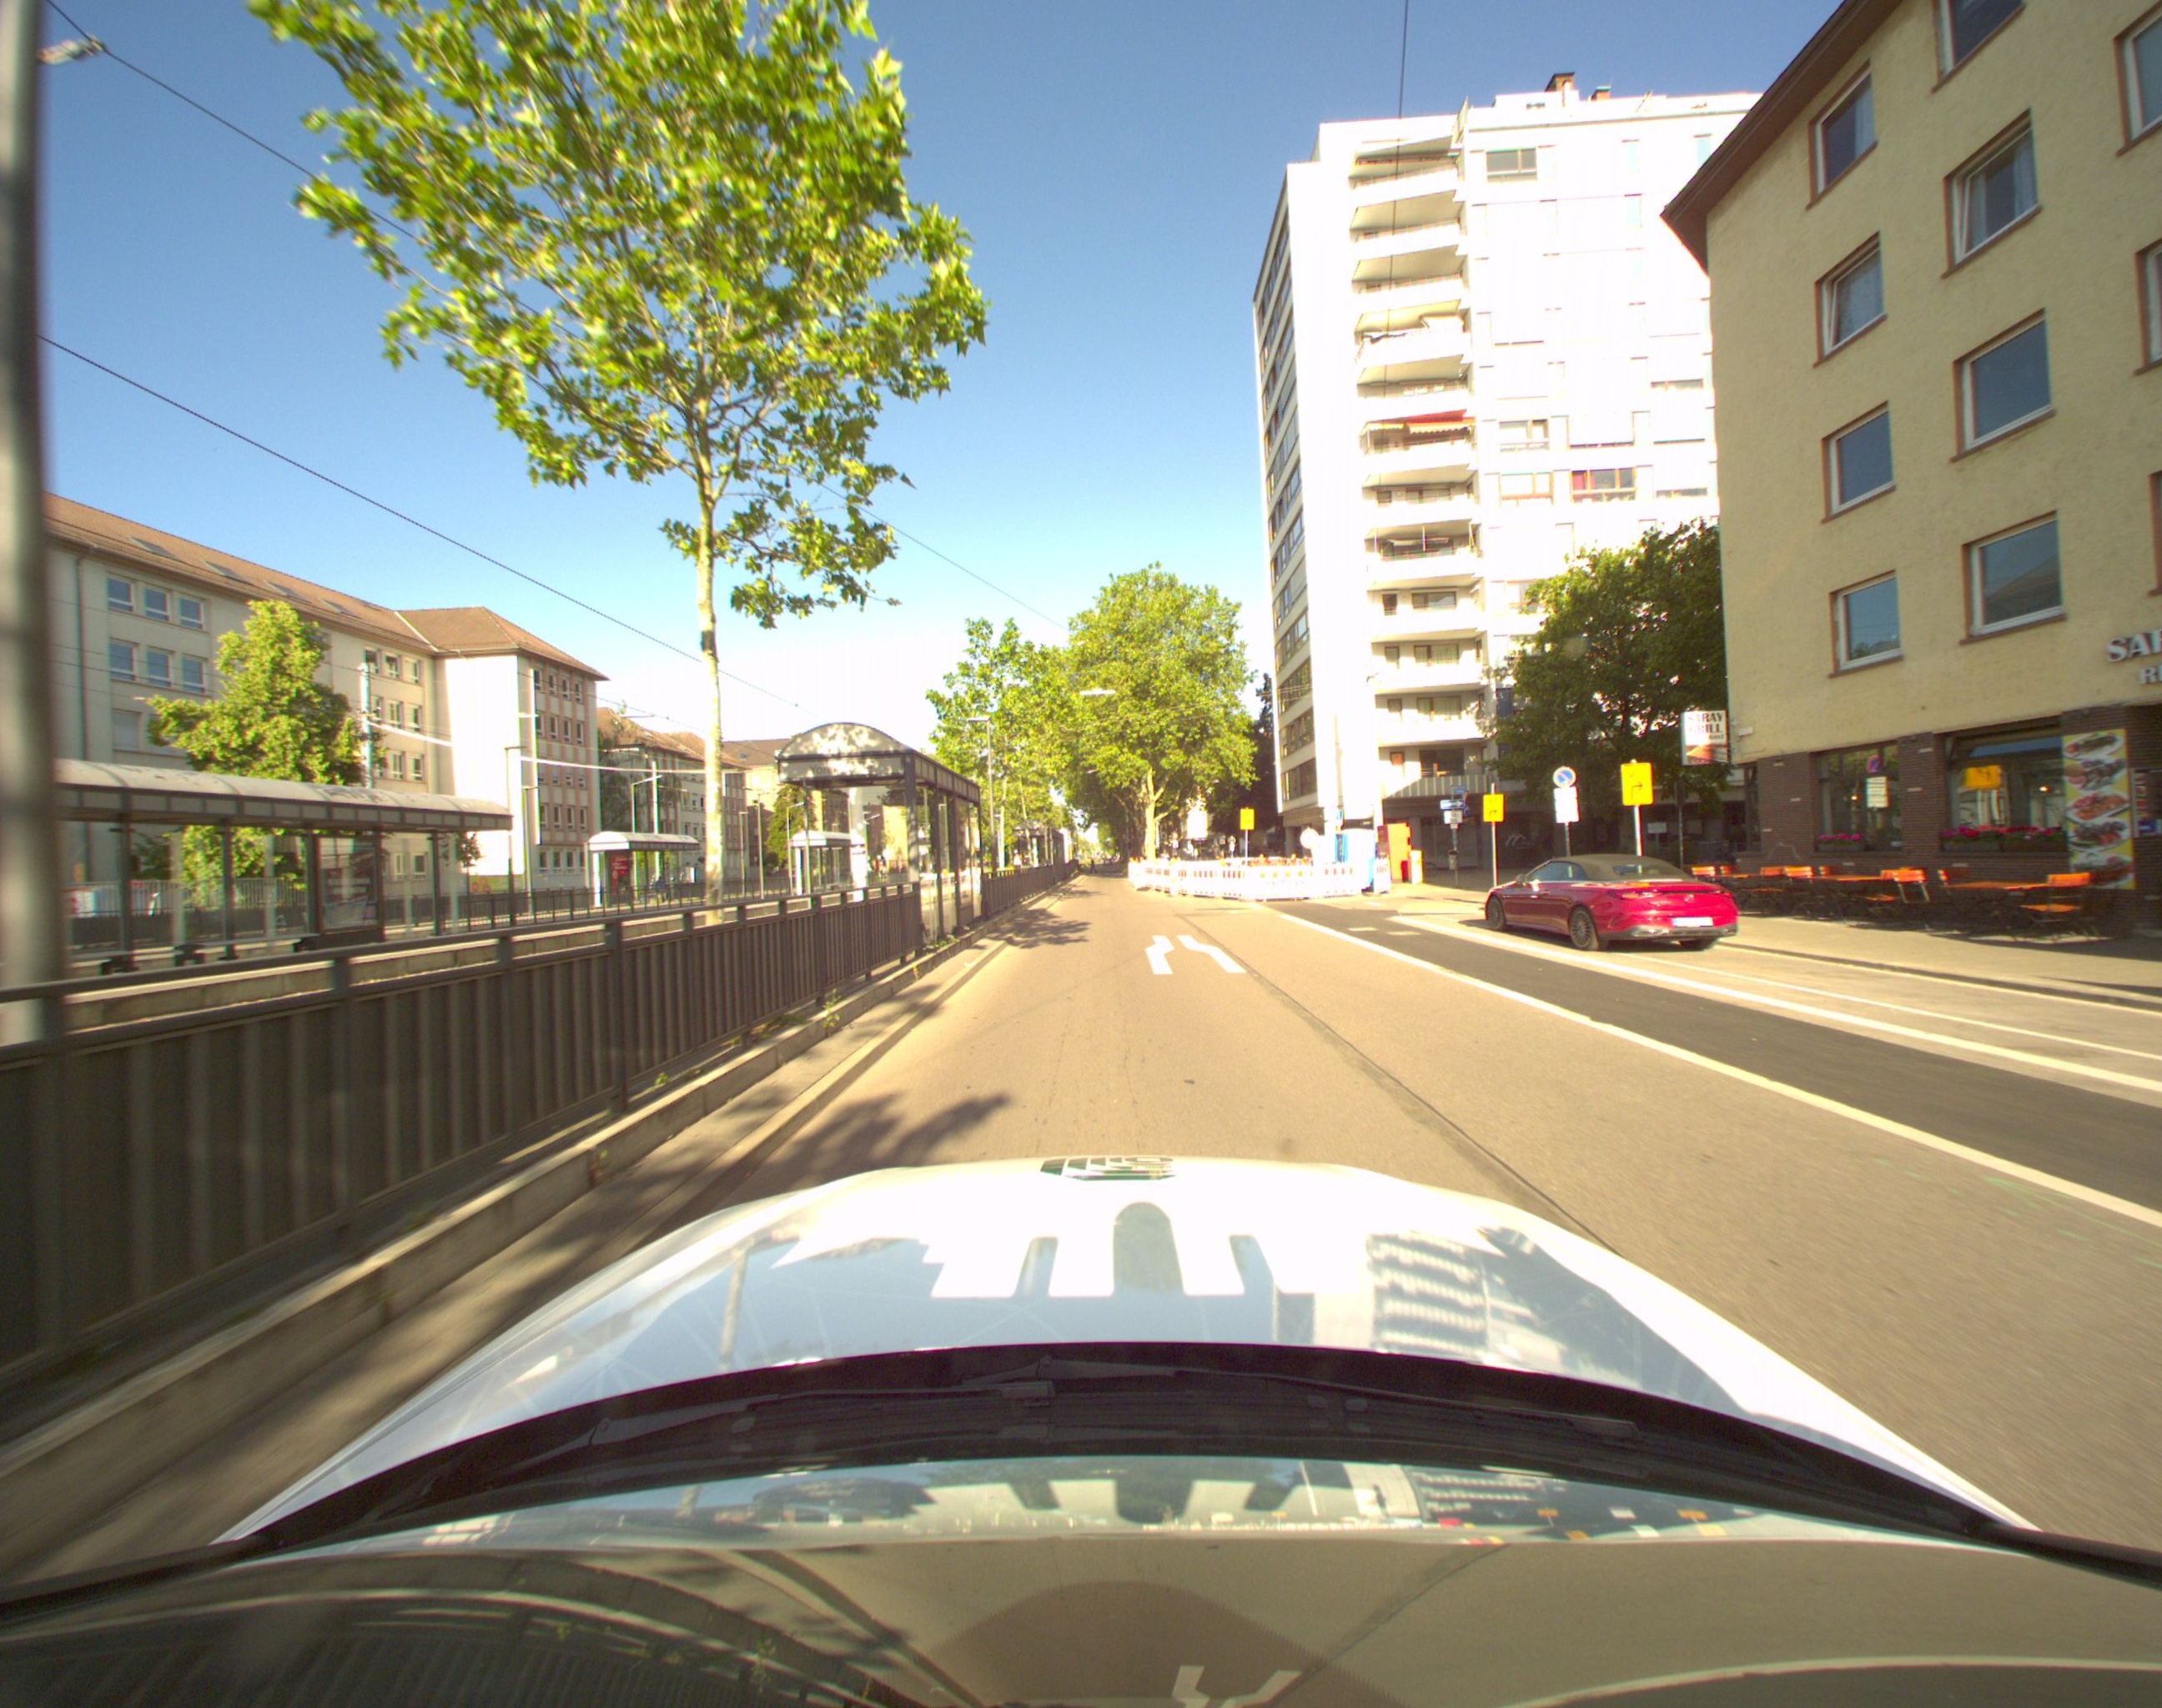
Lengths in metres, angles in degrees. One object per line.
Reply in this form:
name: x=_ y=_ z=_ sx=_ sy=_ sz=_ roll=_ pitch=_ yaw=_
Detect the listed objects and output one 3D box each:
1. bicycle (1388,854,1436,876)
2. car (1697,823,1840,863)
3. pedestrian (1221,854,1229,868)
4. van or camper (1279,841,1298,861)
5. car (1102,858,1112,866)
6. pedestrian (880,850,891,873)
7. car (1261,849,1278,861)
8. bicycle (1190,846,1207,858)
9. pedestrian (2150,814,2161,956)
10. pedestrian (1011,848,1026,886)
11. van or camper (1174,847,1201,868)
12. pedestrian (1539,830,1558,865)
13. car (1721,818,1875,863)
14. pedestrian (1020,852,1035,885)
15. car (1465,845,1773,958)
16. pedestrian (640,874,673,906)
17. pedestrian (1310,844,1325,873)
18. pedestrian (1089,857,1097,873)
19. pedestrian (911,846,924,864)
bicycle: x=15.363 y=0.510 z=37.861 sx=2.011 sy=0.943 sz=1.023 roll=-2 pitch=0 yaw=21
car: x=30.321 y=-0.469 z=36.077 sx=4.446 sy=1.523 sz=1.849 roll=-3 pitch=0 yaw=17
pedestrian: x=16.543 y=0.812 z=93.627 sx=0.729 sy=1.616 sz=1.036 roll=-3 pitch=-1 yaw=2
van or camper: x=28.754 y=-0.449 z=112.508 sx=2.130 sy=2.636 sz=5.613 roll=-3 pitch=0 yaw=17
car: x=5.419 y=1.629 z=167.588 sx=2.014 sy=1.662 sz=4.001 roll=-2 pitch=0 yaw=1
pedestrian: x=-18.092 y=0.691 z=75.371 sx=0.660 sy=2.013 sz=0.860 roll=-2 pitch=0 yaw=1
car: x=26.193 y=0.111 z=113.063 sx=1.978 sy=1.628 sz=4.409 roll=-3 pitch=0 yaw=17
bicycle: x=12.714 y=-0.223 z=88.366 sx=1.600 sy=1.263 sz=0.962 roll=-2 pitch=-1 yaw=-3
pedestrian: x=11.784 y=0.316 z=8.366 sx=0.668 sy=1.506 sz=0.652 roll=-2 pitch=-1 yaw=1
pedestrian: x=-3.329 y=0.688 z=43.451 sx=0.665 sy=2.013 sz=0.717 roll=-2 pitch=0 yaw=3
van or camper: x=11.996 y=0.393 z=92.160 sx=2.282 sy=2.286 sz=5.824 roll=-2 pitch=-1 yaw=1
pedestrian: x=25.280 y=-0.356 z=44.006 sx=0.652 sy=1.854 sz=0.679 roll=0 pitch=-1 yaw=3
car: x=29.307 y=-0.510 z=33.446 sx=4.185 sy=1.605 sz=2.165 roll=-2 pitch=-1 yaw=17
pedestrian: x=-2.921 y=0.804 z=44.803 sx=0.679 sy=1.784 sz=0.755 roll=-2 pitch=0 yaw=3
car: x=8.448 y=0.650 z=13.536 sx=1.864 sy=1.443 sz=5.162 roll=-2 pitch=0 yaw=3
pedestrian: x=-19.001 y=1.607 z=36.437 sx=0.971 sy=1.376 sz=0.879 roll=-2 pitch=0 yaw=1
pedestrian: x=15.268 y=0.309 z=52.659 sx=0.687 sy=1.815 sz=0.666 roll=-3 pitch=-1 yaw=1
pedestrian: x=1.260 y=1.119 z=85.581 sx=0.709 sy=1.680 sz=0.772 roll=-2 pitch=-1 yaw=0
pedestrian: x=-15.892 y=0.121 z=79.063 sx=0.949 sy=1.736 sz=0.731 roll=-2 pitch=0 yaw=4
